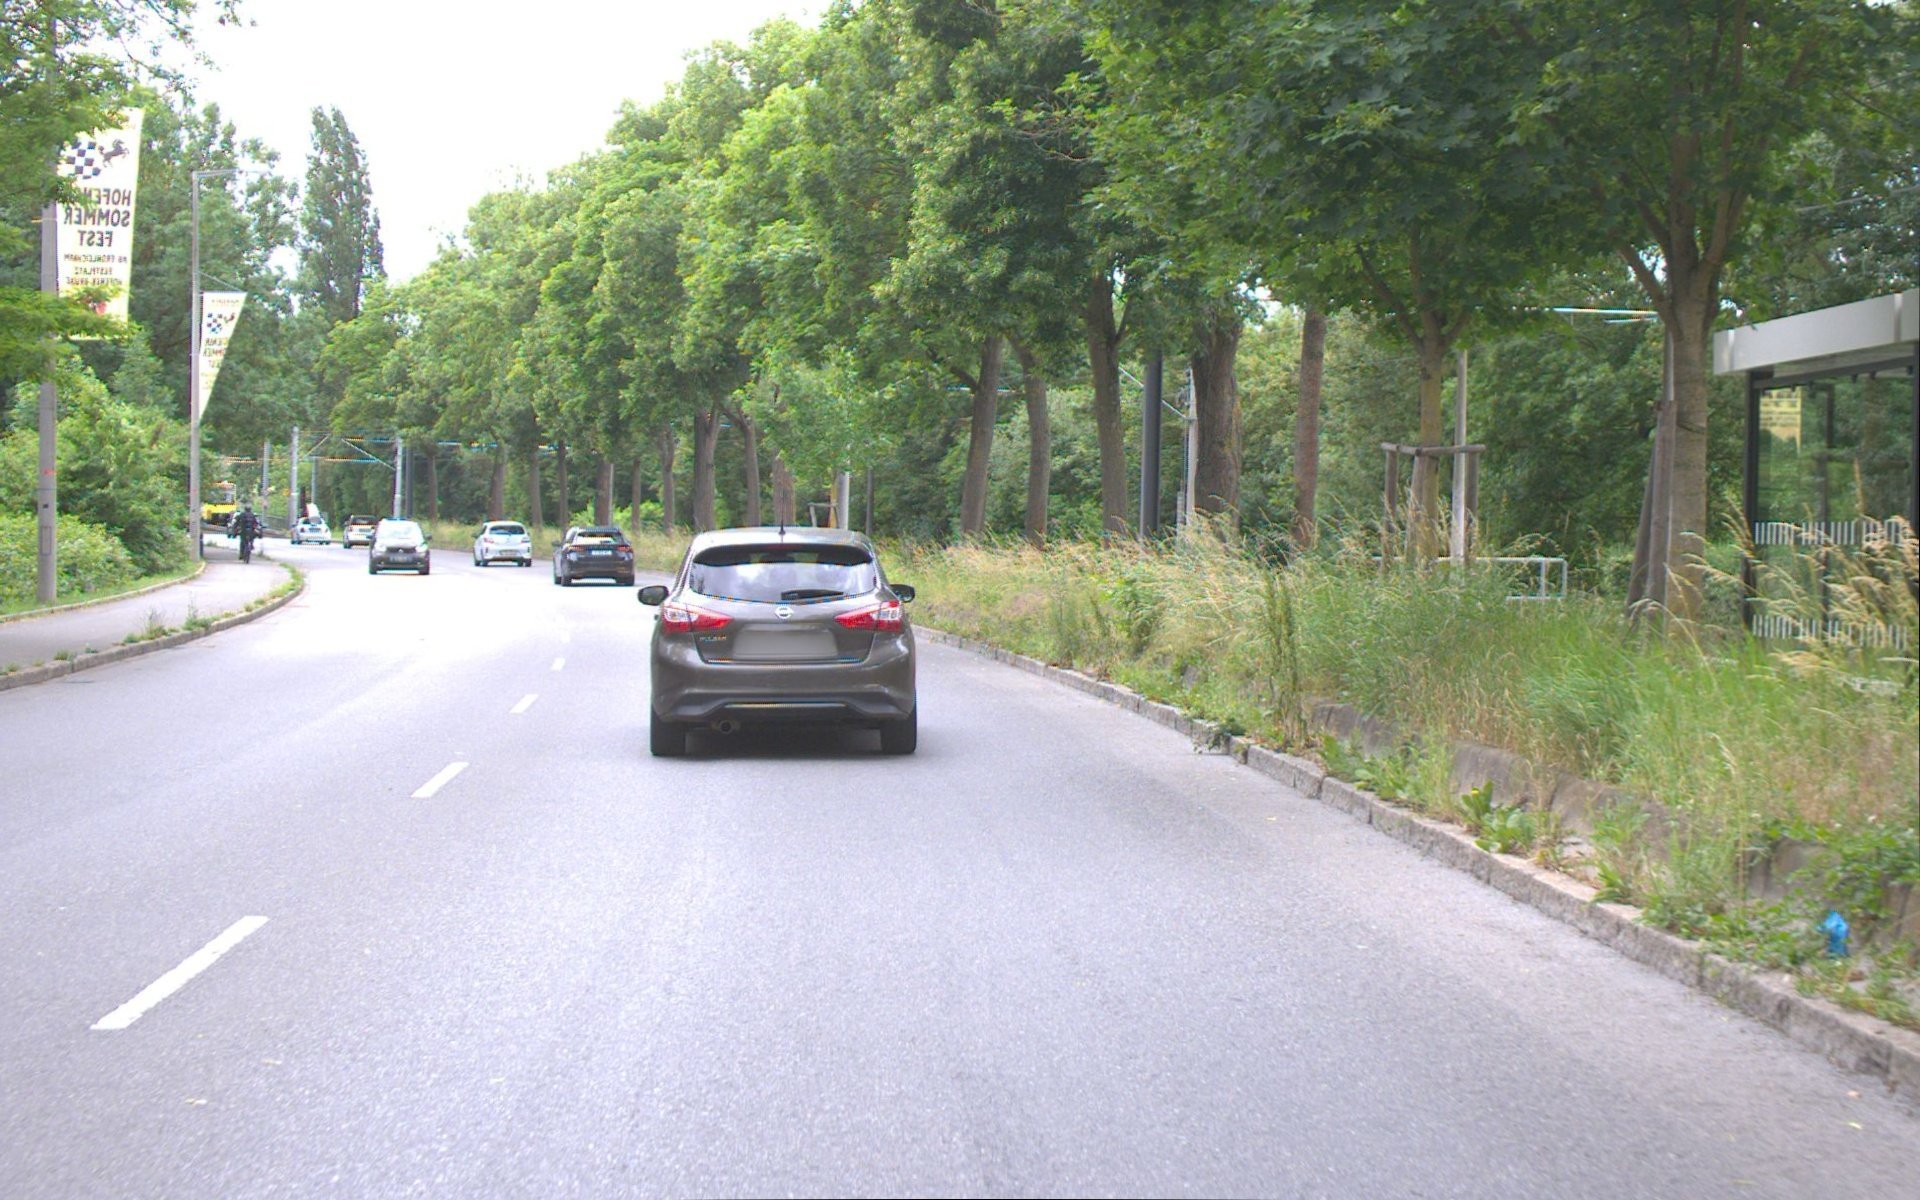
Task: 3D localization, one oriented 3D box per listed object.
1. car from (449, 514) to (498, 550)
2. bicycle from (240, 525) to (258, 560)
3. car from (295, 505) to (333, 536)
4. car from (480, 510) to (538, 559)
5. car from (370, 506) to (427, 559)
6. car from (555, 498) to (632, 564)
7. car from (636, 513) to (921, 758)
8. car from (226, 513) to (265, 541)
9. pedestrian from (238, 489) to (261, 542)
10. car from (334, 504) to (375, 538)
[{"bbox_3d":[-21.936,-3.087,154.805,1.775,1.467,4.002,2,2,-13],"label":"car"},{"bbox_3d":[-21.745,-1.772,105.137,0.488,1.027,1.125,3,2,-11],"label":"bicycle"},{"bbox_3d":[-34.170,-4.207,181.801,1.775,1.467,4.002,3,2,-13],"label":"car"},{"bbox_3d":[-14.883,-2.185,113.671,1.775,1.467,4.001,3,2,-7],"label":"car"},{"bbox_3d":[-16.183,-1.936,99.195,1.595,1.500,3.029,0,1,-9],"label":"car"},{"bbox_3d":[-8.995,-1.716,84.583,1.775,1.467,4.001,3,2,-6],"label":"car"},{"bbox_3d":[-1.315,0.182,24.006,1.816,1.503,4.001,0,2,-4],"label":"car"},{"bbox_3d":[-43.224,-4.423,207.904,1.775,1.467,4.002,3,2,-19],"label":"car"},{"bbox_3d":[-21.722,-2.592,105.145,0.617,1.566,0.849,3,2,-11],"label":"pedestrian"},{"bbox_3d":[-28.324,-3.708,160.807,1.775,1.467,4.001,2,2,-9],"label":"car"}]
